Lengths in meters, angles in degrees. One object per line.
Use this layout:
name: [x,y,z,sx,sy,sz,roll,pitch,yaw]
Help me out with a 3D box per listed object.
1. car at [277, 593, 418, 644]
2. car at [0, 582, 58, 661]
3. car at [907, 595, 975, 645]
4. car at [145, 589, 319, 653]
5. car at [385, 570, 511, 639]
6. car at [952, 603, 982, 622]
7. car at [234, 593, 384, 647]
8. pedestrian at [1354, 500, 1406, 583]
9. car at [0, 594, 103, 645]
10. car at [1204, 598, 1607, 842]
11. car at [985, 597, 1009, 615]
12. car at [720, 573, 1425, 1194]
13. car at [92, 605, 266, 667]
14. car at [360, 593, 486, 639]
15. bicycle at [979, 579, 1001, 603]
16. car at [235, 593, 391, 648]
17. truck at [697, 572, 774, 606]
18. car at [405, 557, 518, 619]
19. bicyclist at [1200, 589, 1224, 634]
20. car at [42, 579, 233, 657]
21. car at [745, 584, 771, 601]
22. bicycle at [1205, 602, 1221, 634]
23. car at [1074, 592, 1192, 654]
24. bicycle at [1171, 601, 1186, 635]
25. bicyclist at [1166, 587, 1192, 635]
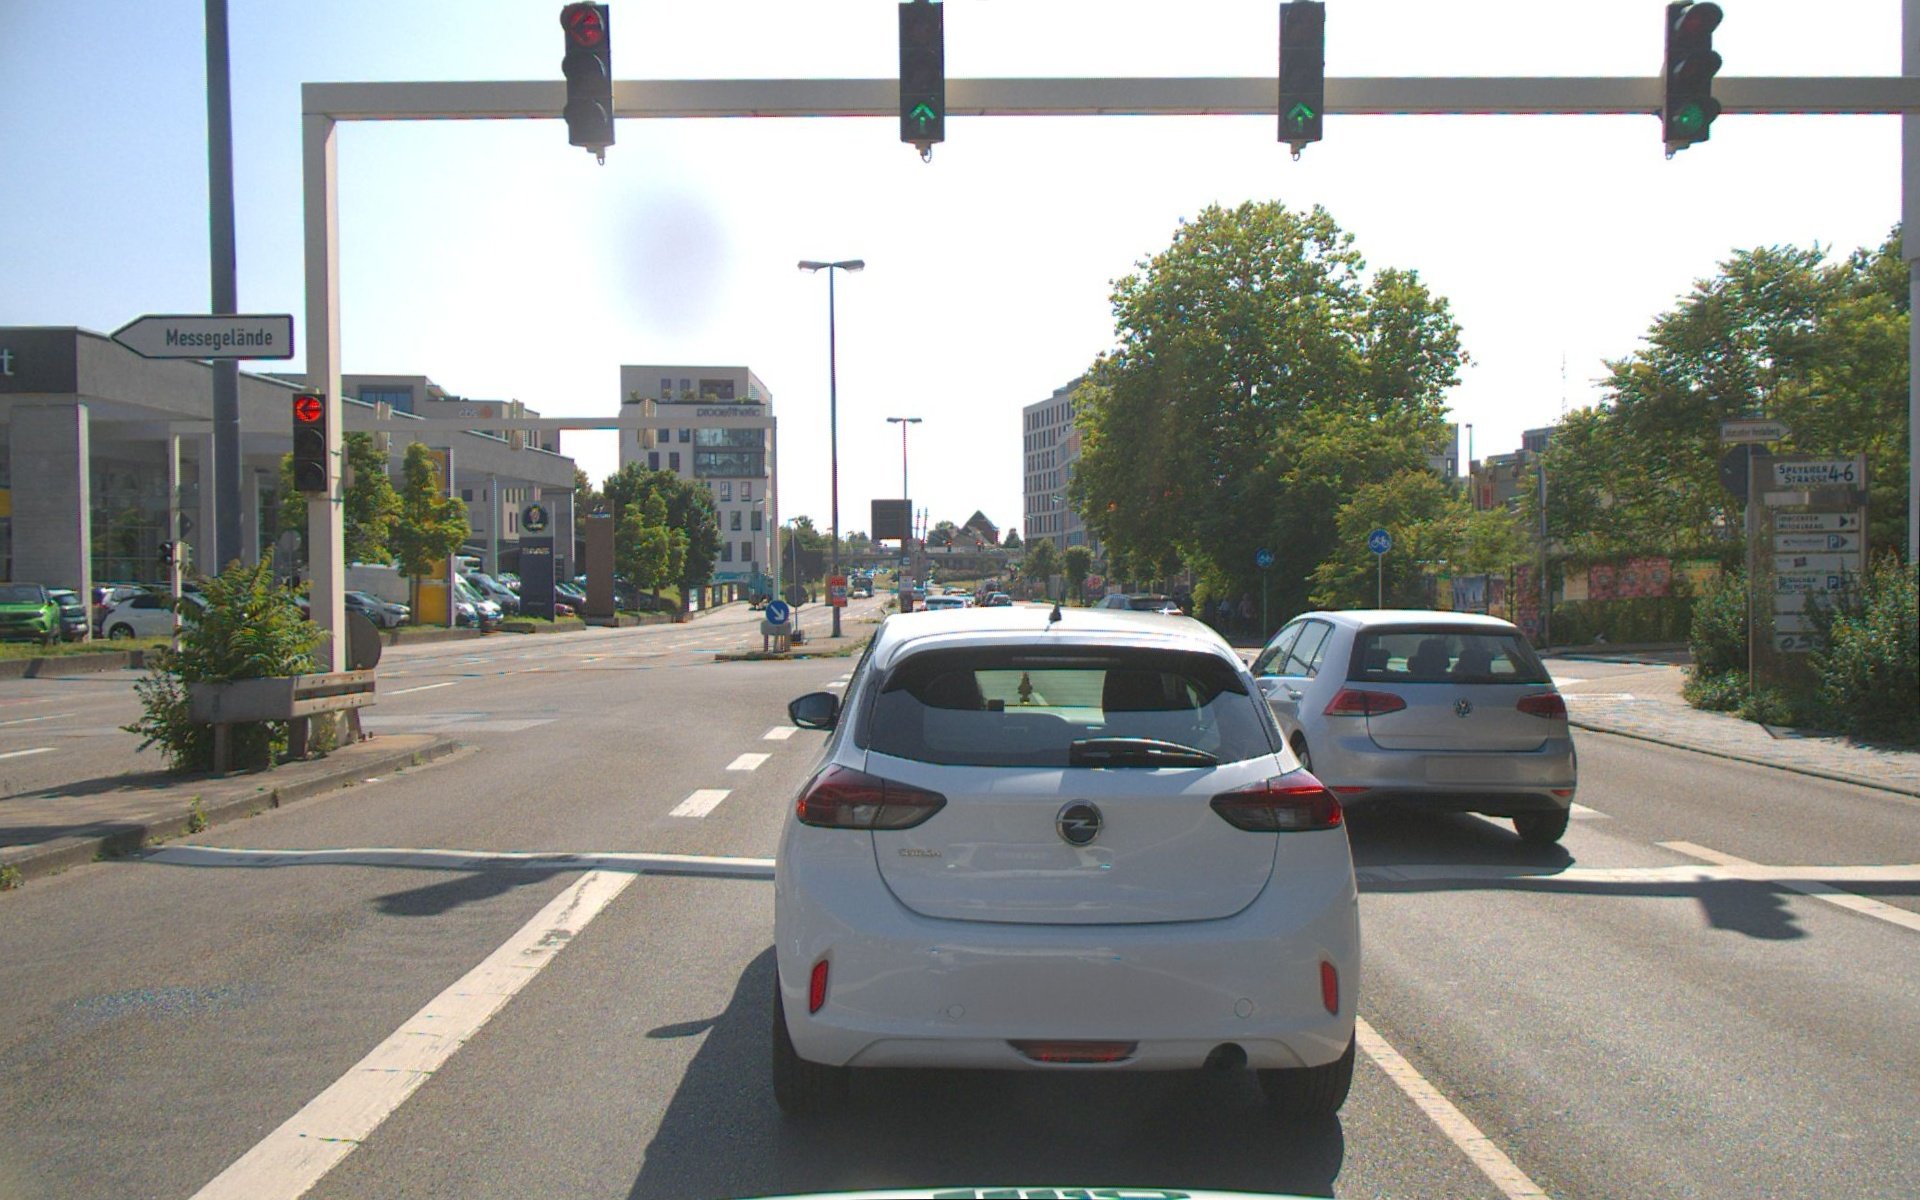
car: [-21.841,0.634,59.094,4.270,1.726,1.999,-1,0,-4]
car: [-22.491,0.525,38.791,1.887,1.764,3.250,-1,-1,-37]
car: [-0.625,0.590,51.025,1.953,1.472,4.369,0,0,-3]
car: [-21.318,0.593,48.597,4.211,1.796,1.999,-1,0,-4]
car: [-20.770,0.198,67.219,4.401,2.731,2.130,0,0,8]
car: [0.518,0.967,124.210,1.954,1.355,3.997,1,-1,-3]
car: [-21.919,0.656,55.825,4.270,1.726,1.999,-1,0,-4]
pedestrian: [10.529,-1.452,41.473,1.006,2.049,1.038,0,0,-1]
car: [-26.182,0.572,45.379,4.276,1.290,1.996,-2,-2,-9]
car: [2.982,0.730,11.958,1.770,1.454,3.999,0,0,-1]
car: [3.021,0.521,135.143,1.769,1.410,3.999,1,-1,-1]
car: [0.252,0.694,6.112,1.743,1.520,3.999,0,0,-1]
car: [-21.564,0.969,45.805,3.912,1.627,1.997,-1,0,-8]
car: [-21.009,0.615,64.804,4.266,1.726,2.000,-1,0,1]
bicycle: [2.787,-0.850,155.433,1.953,2.195,3.999,0,0,-1]
car: [-20.918,0.662,53.607,4.270,1.726,1.999,0,0,-3]
truck: [-26.853,-1.320,197.706,8.897,3.901,3.074,-1,0,-11]
car: [-21.847,-0.517,72.555,4.265,2.646,2.001,0,0,4]
bicyclist: [9.448,0.427,61.919,0.675,1.672,0.775,0,0,-9]
car: [-20.655,0.438,41.682,3.793,1.870,1.999,-1,0,-4]
car: [-17.266,-0.650,141.719,1.769,1.410,3.999,1,-1,-1]
bicycle: [9.469,0.670,61.851,0.366,1.167,1.034,1,-1,-3]
car: [4.627,0.584,44.893,1.958,1.578,4.421,-1,0,-11]
bicycle: [8.272,0.677,62.583,0.365,1.238,1.153,1,0,-1]
bicyclist: [8.275,0.410,62.580,0.861,1.803,0.863,0,0,-1]
